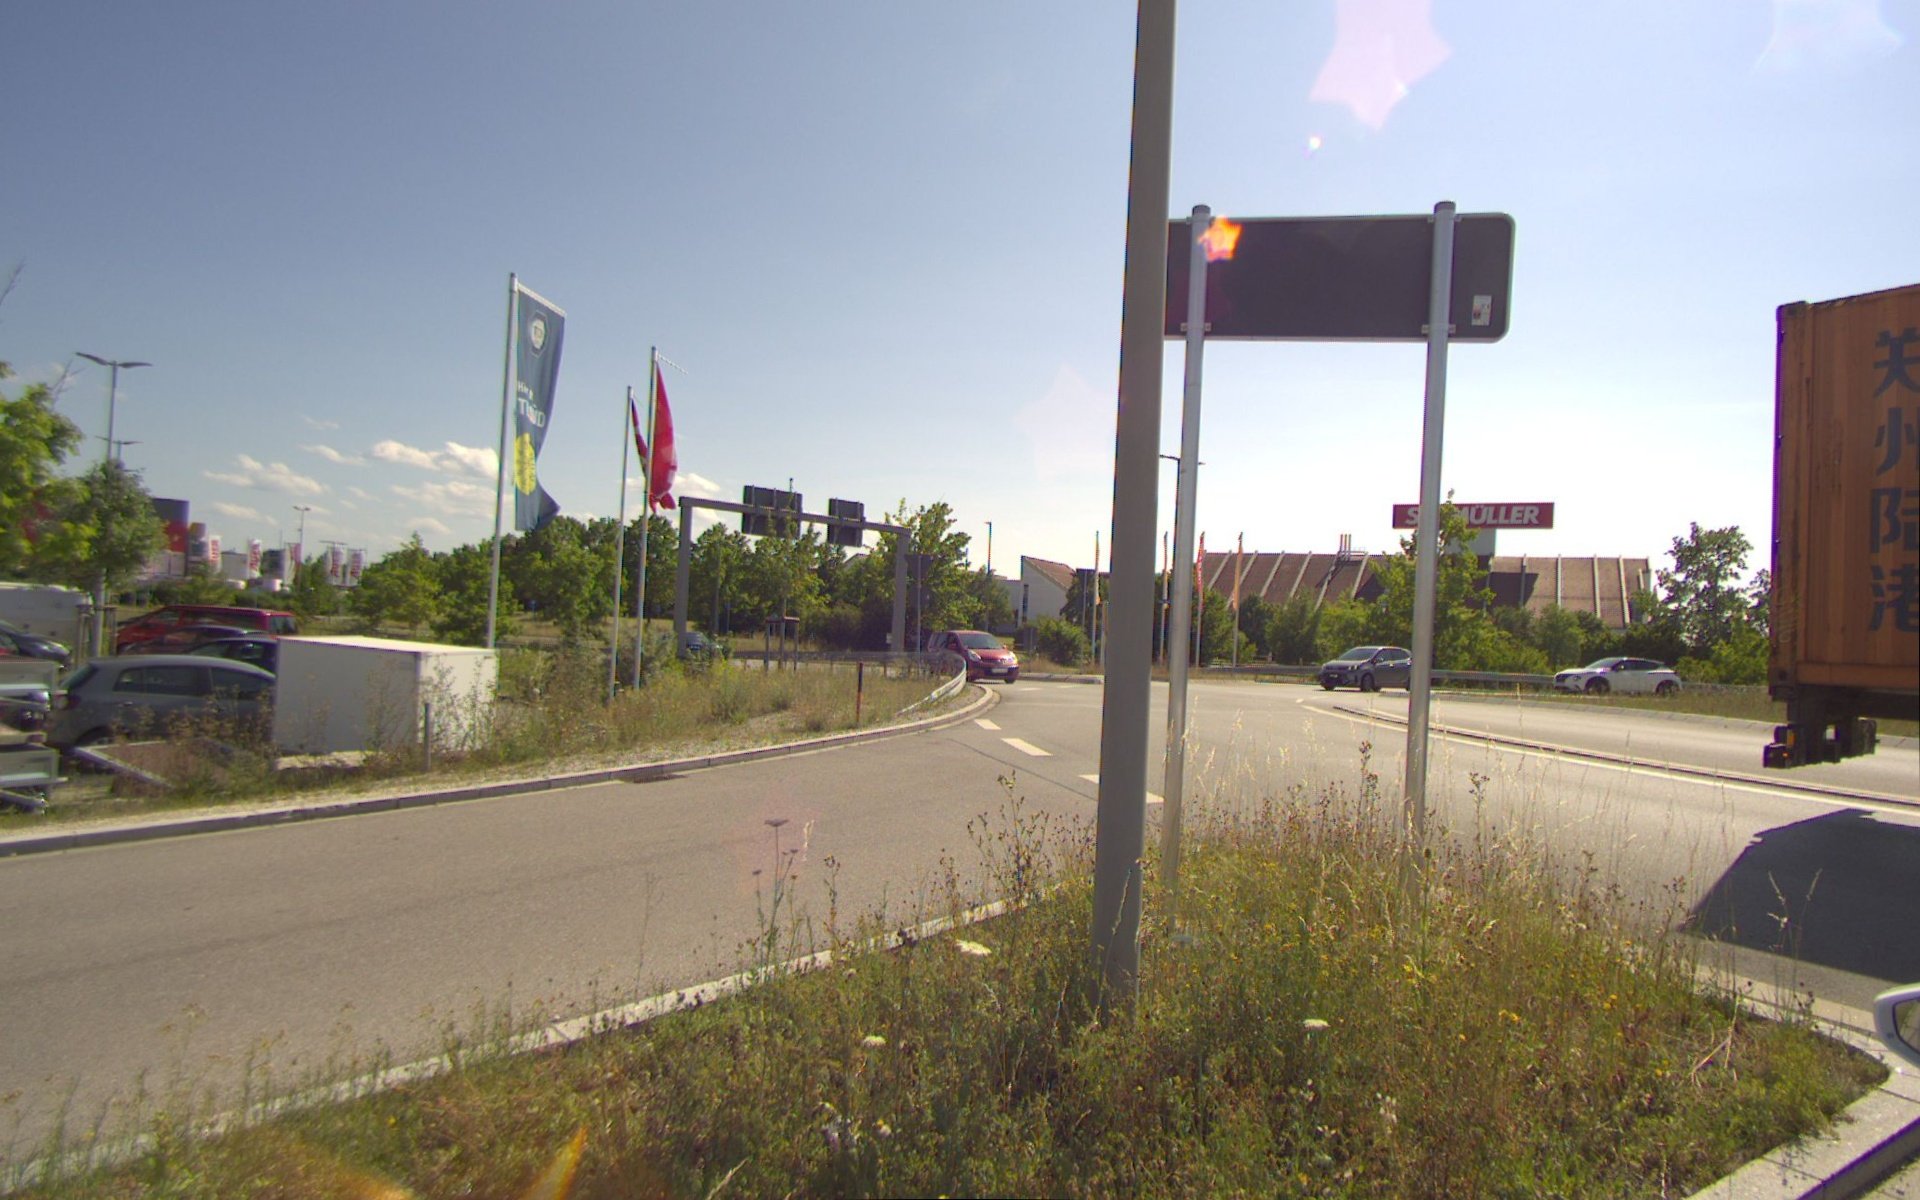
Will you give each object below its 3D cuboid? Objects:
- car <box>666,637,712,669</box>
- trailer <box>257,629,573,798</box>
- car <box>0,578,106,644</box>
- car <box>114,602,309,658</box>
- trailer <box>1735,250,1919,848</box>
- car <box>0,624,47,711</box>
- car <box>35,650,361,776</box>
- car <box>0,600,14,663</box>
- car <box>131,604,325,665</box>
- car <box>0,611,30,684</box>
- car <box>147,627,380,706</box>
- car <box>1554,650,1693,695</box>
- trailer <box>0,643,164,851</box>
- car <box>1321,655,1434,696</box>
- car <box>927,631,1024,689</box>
[{"bbox_3d":[-13.688,2.684,50.699,1.459,1.414,2.870,3,0,-31],"label":"car"},{"bbox_3d":[-7.535,1.457,13.961,3.624,1.795,1.808,4,1,19],"label":"trailer"},{"bbox_3d":[-30.599,0.324,32.627,4.316,2.040,1.881,3,0,-41],"label":"car"},{"bbox_3d":[-22.568,0.891,30.433,4.372,1.483,1.823,3,0,-6],"label":"car"},{"bbox_3d":[10.635,-0.297,3.592,2.535,4.208,12.241,3,-1,-34],"label":"trailer"},{"bbox_3d":[-18.172,1.127,16.982,3.971,1.483,1.803,3,-3,-42],"label":"car"},{"bbox_3d":[-11.371,1.606,15.207,3.713,1.572,1.724,3,0,-40],"label":"car"},{"bbox_3d":[-25.310,0.693,23.810,3.964,1.483,1.806,3,0,-37],"label":"car"},{"bbox_3d":[-20.315,0.933,28.020,3.925,1.483,1.823,3,0,-6],"label":"car"},{"bbox_3d":[-22.097,0.947,20.788,3.964,1.483,1.806,3,0,-37],"label":"car"},{"bbox_3d":[-15.969,1.526,23.224,3.926,1.483,1.824,4,-3,-6],"label":"car"},{"bbox_3d":[24.122,2.620,36.604,3.920,1.372,1.616,2,0,2],"label":"car"},{"bbox_3d":[-10.639,1.422,10.587,3.623,1.795,1.808,2,0,19],"label":"trailer"},{"bbox_3d":[13.622,2.445,32.736,3.665,1.171,1.464,3,0,-30],"label":"car"},{"bbox_3d":[0.384,1.721,29.513,1.455,1.414,3.688,2,0,-23],"label":"car"}]
